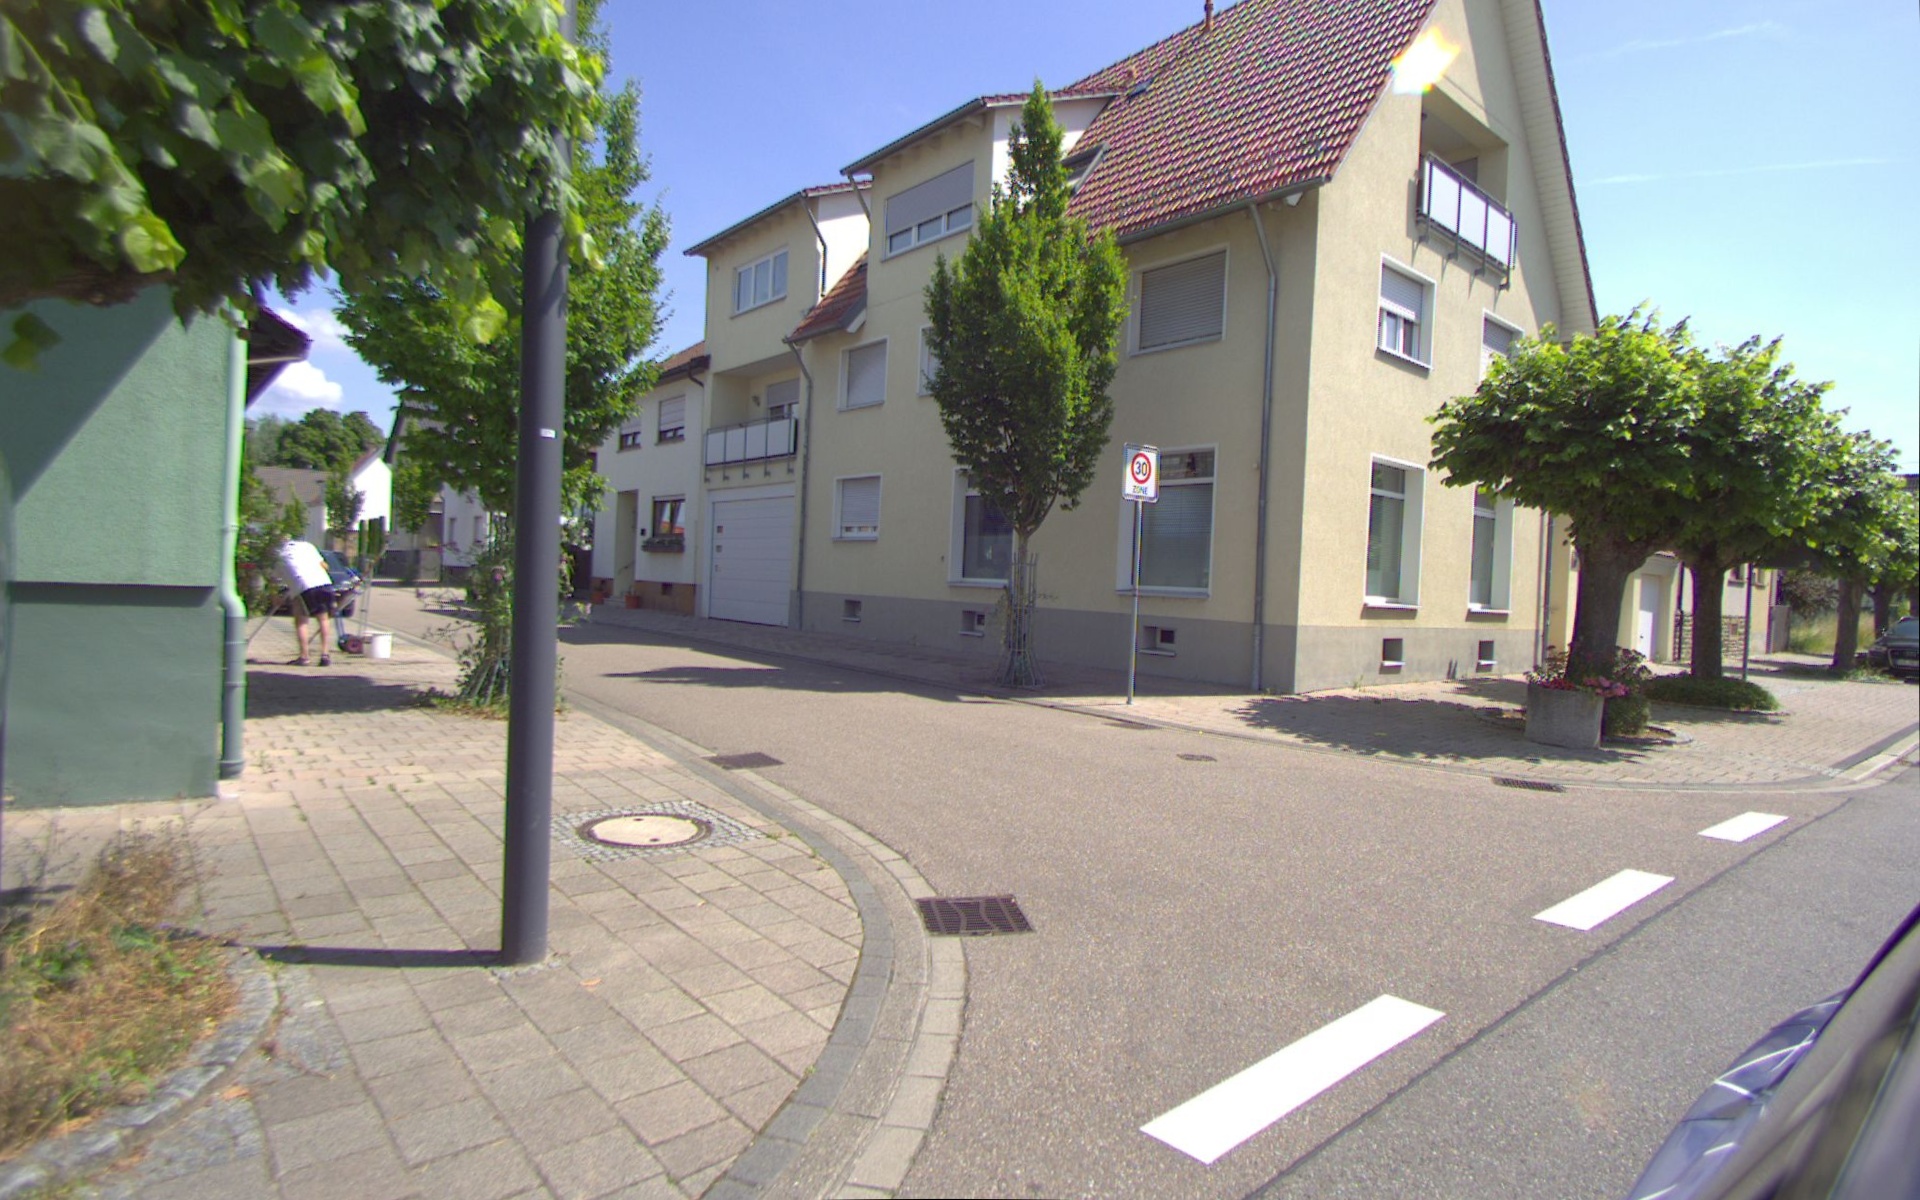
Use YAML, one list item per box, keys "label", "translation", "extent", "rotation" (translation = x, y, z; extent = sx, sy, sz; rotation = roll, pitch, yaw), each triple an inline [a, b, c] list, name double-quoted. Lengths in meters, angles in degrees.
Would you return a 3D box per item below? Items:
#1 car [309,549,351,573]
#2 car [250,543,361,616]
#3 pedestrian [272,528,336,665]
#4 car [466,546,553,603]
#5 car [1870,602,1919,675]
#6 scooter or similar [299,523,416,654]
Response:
- label: "car"
  translation: [-40.055, -2.479, 64.319]
  extent: [1.710, 1.430, 3.737]
  rotation: [-1, 4, -40]
- label: "car"
  translation: [-14.877, -0.469, 22.929]
  extent: [1.596, 1.475, 3.735]
  rotation: [2, 0, -40]
- label: "pedestrian"
  translation: [-7.841, -0.042, 12.098]
  extent: [0.536, 1.589, 0.545]
  rotation: [1, 0, -44]
- label: "car"
  translation: [-15.101, -0.907, 33.827]
  extent: [1.710, 1.741, 3.737]
  rotation: [-1, 4, -40]
- label: "car"
  translation: [23.630, 0.962, 24.315]
  extent: [3.981, 1.605, 1.830]
  rotation: [2, 2, -37]
- label: "scooter or similar"
  translation: [-8.323, -0.153, 13.974]
  extent: [1.169, 1.667, 1.097]
  rotation: [5, -1, -37]
